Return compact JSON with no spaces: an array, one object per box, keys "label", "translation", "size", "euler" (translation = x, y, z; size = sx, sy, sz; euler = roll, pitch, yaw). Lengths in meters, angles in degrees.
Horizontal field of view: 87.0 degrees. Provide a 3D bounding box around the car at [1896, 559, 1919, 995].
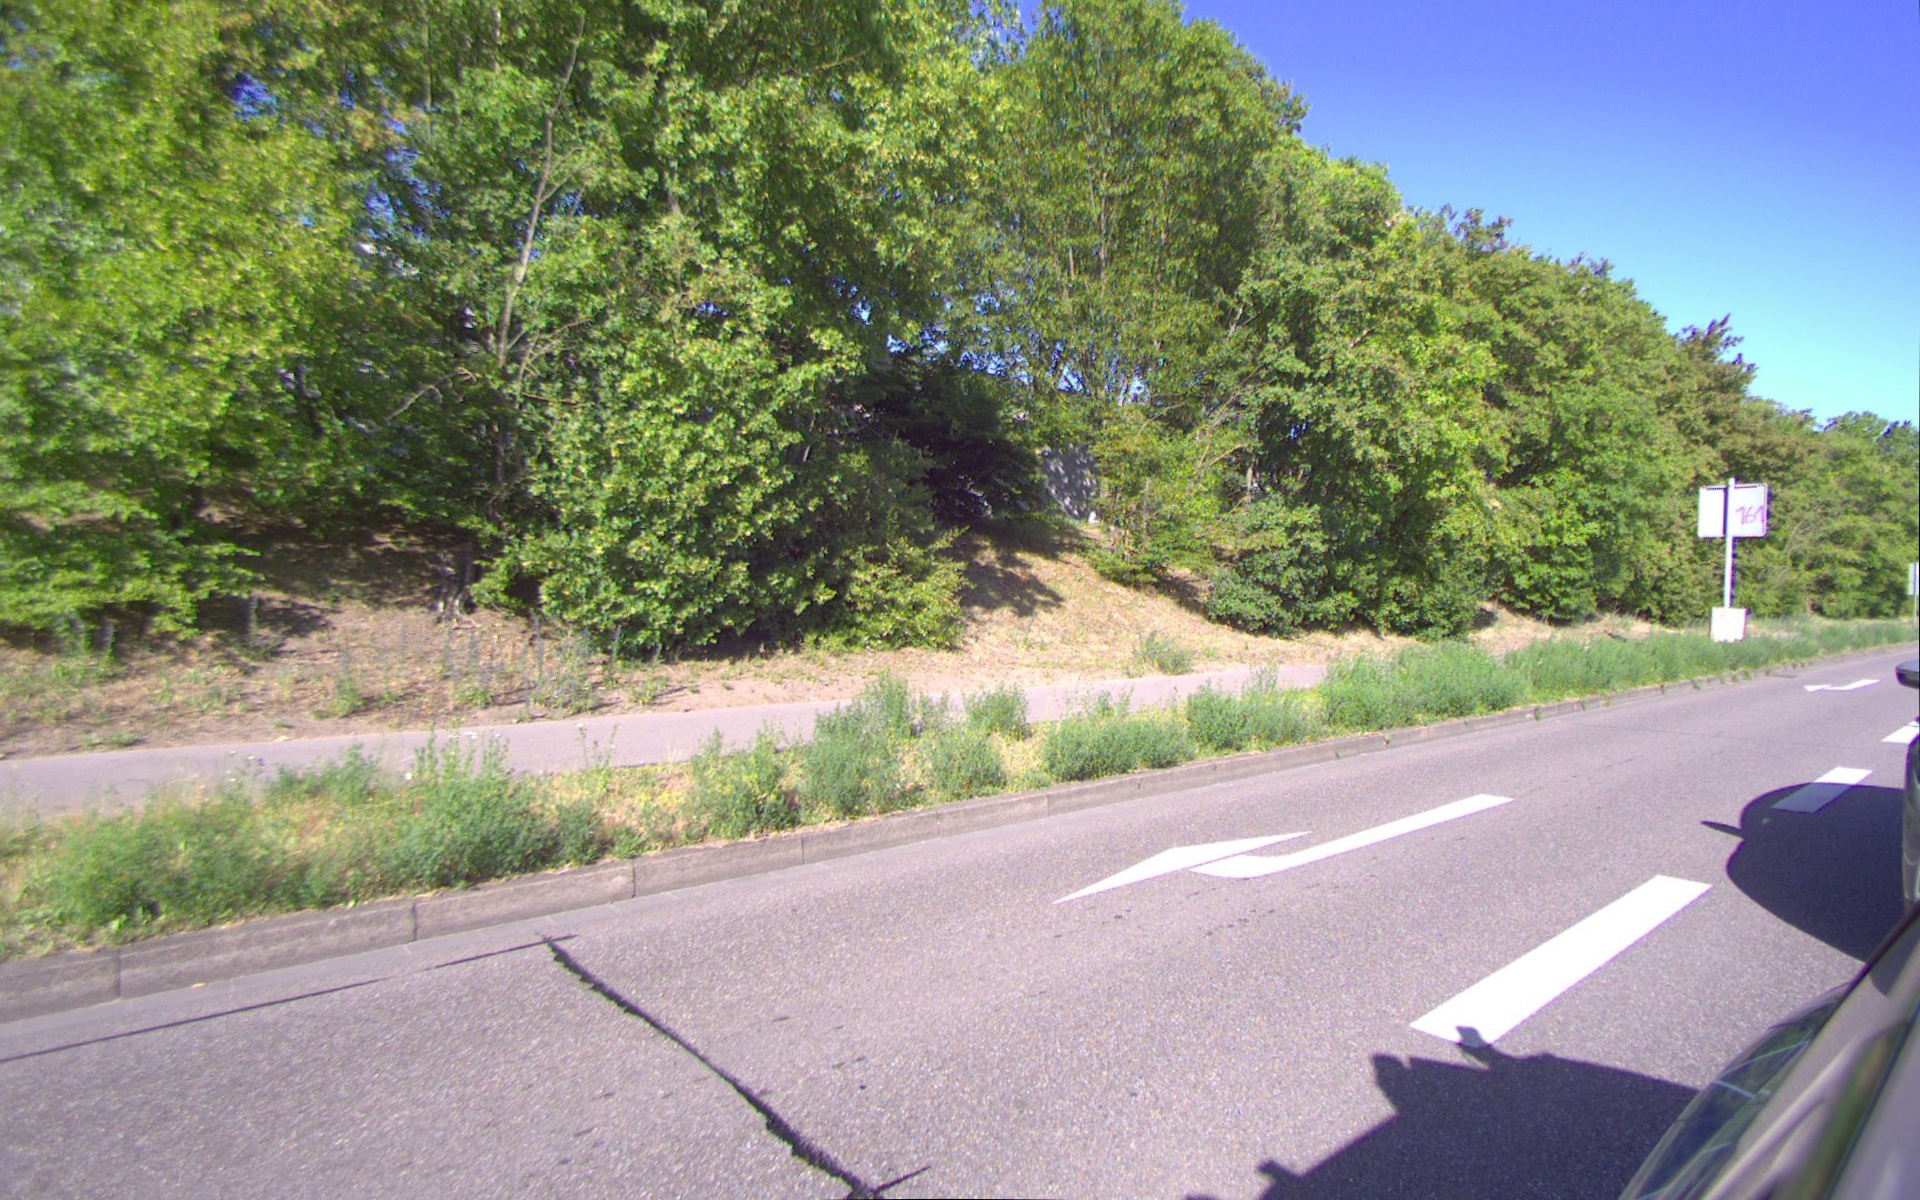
[{"label":"car","translation":[5.713,0.654,4.521],"size":[4.327,1.603,1.860],"euler":[0,0,-42]}]
